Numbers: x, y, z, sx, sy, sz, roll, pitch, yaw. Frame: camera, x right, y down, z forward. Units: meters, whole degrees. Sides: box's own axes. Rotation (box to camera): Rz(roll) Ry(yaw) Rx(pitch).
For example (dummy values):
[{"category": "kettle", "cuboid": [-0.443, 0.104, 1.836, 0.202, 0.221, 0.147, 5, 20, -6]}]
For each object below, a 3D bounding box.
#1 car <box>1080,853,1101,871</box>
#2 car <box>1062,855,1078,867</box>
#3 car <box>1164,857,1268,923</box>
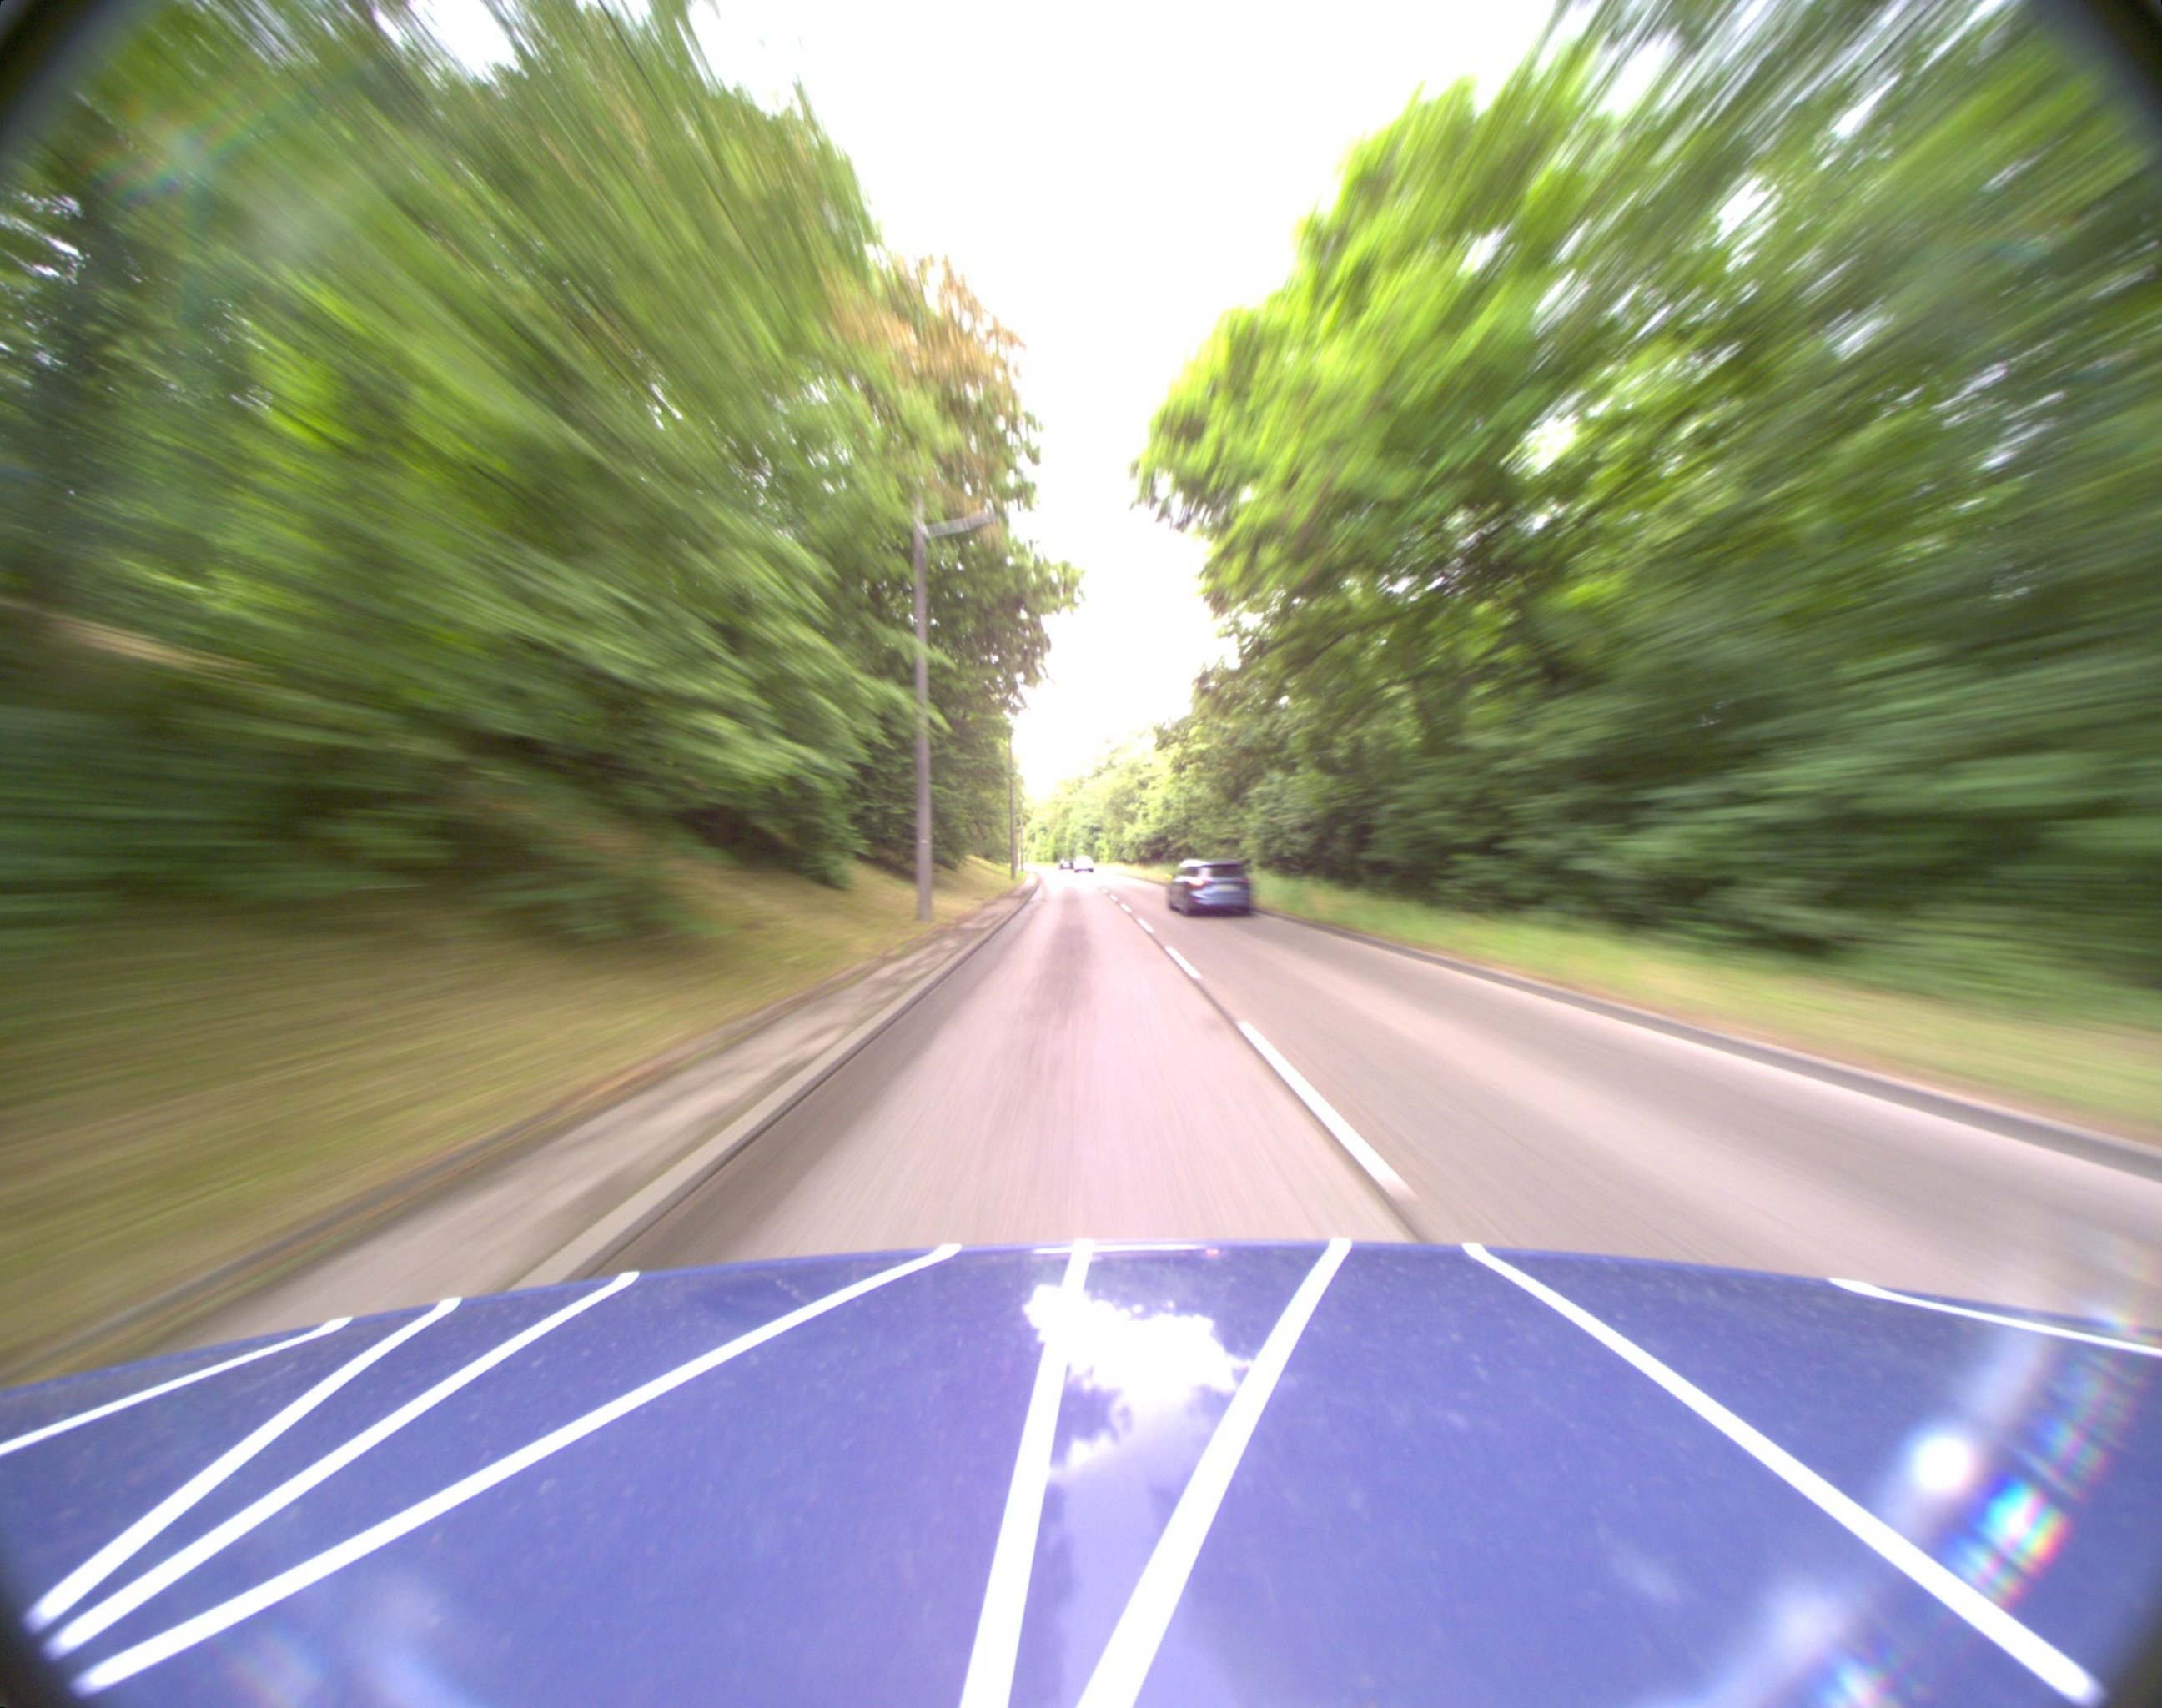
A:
[{"category": "car", "cuboid": [0.916, 0.804, 78.542, 1.824, 1.685, 4.286, -3, 1, -3]}, {"category": "car", "cuboid": [-1.557, 0.964, 105.975, 2.035, 1.499, 4.593, -3, 1, -3]}, {"category": "car", "cuboid": [3.474, 0.868, 20.284, 1.999, 1.429, 3.999, -3, 1, 0]}]
